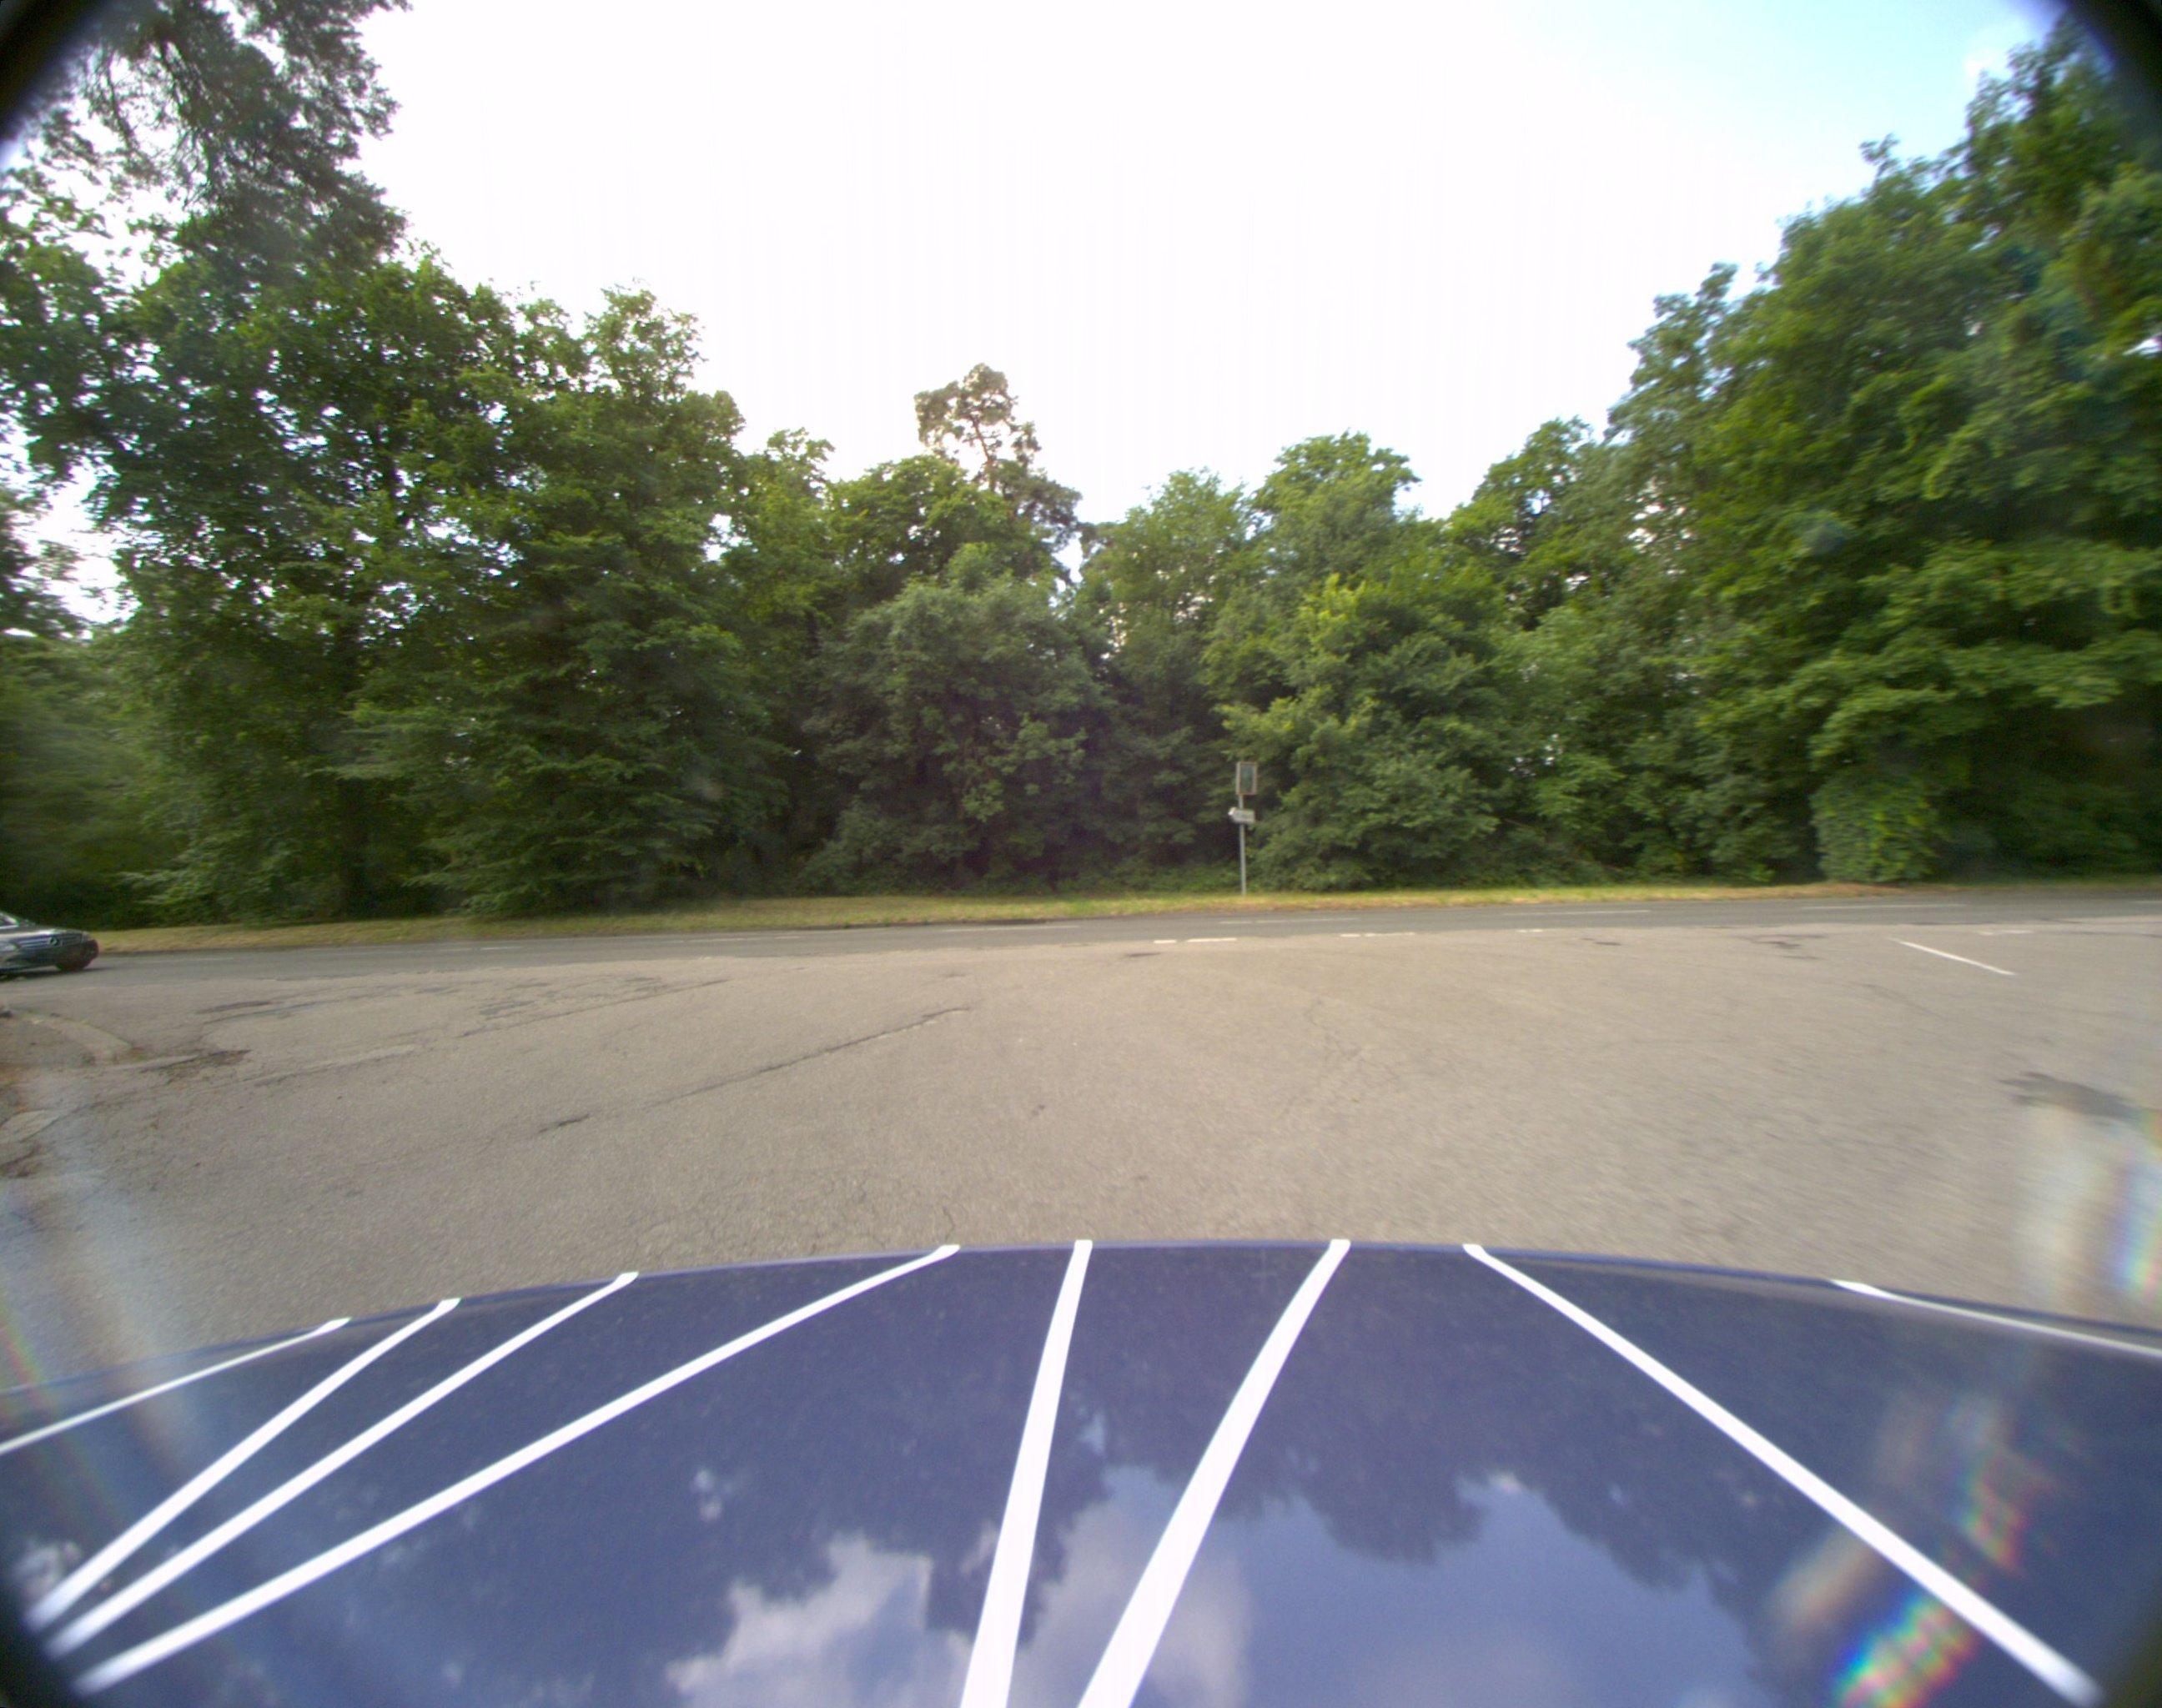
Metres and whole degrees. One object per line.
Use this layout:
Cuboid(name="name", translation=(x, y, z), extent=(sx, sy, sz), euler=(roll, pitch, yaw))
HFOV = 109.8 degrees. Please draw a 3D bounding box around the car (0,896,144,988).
Cuboid(name="car", translation=(-21.356, 1.771, 14.377), extent=(4.527, 1.456, 1.966), euler=(-4, 2, -2))
